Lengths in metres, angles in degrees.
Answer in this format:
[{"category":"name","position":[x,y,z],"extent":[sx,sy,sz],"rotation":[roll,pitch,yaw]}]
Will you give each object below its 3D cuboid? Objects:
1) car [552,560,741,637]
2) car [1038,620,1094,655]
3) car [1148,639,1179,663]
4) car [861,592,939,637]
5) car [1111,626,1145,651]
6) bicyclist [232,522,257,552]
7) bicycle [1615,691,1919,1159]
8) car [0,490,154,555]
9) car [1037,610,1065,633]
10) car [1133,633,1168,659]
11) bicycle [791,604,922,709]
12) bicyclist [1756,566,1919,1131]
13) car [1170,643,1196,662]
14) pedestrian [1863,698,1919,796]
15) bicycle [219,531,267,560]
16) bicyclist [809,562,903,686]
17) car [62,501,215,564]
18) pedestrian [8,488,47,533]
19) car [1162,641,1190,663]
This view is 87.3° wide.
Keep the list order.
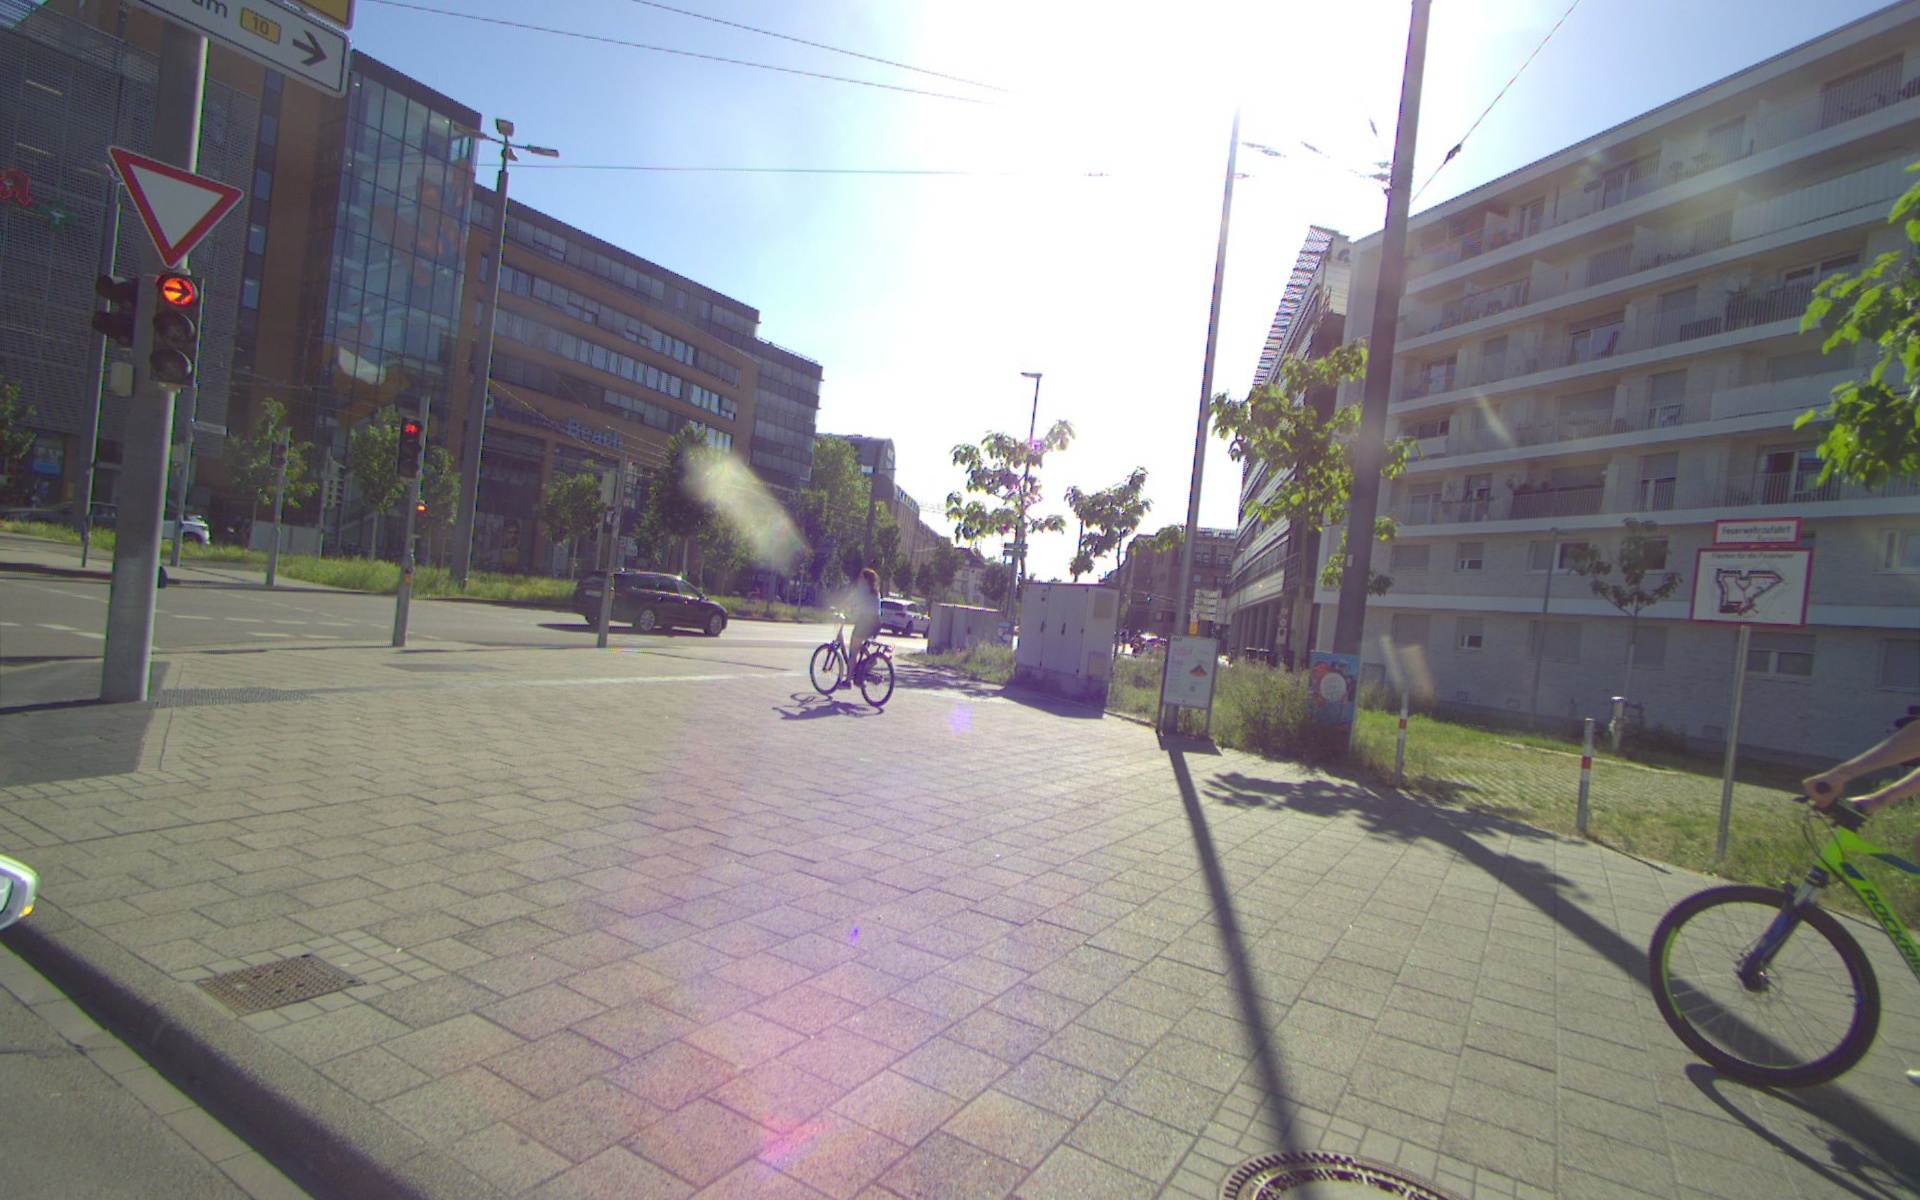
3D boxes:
[{"category":"car","position":[-7.716,0.033,25.303],"extent":[1.800,1.480,4.682],"rotation":[7,0,23]},{"category":"car","position":[5.760,2.053,53.983],"extent":[1.675,1.591,4.872],"rotation":[7,-1,21]},{"category":"car","position":[15.676,3.942,77.288],"extent":[1.677,1.515,4.281],"rotation":[7,-2,19]},{"category":"car","position":[-2.716,0.737,47.014],"extent":[1.901,1.728,4.685],"rotation":[7,0,18]},{"category":"car","position":[12.714,2.931,75.836],"extent":[1.677,1.515,4.281],"rotation":[7,-2,19]},{"category":"bicyclist","position":[-36.468,-3.220,51.300],"extent":[0.556,1.404,0.754],"rotation":[9,2,31]},{"category":"bicycle","position":[3.337,1.101,3.317],"extent":[0.711,1.344,1.728],"rotation":[5,2,-41]},{"category":"car","position":[-32.075,-2.770,36.327],"extent":[1.810,1.484,4.161],"rotation":[6,-5,30]},{"category":"car","position":[7.888,1.911,87.135],"extent":[1.615,1.665,3.704],"rotation":[7,-1,15]},{"category":"car","position":[13.500,3.294,71.050],"extent":[1.677,1.515,4.281],"rotation":[7,-2,19]},{"category":"bicycle","position":[-1.348,0.693,12.771],"extent":[0.664,1.085,1.800],"rotation":[8,-1,-39]},{"category":"bicyclist","position":[3.433,0.826,3.251],"extent":[0.711,1.748,1.081],"rotation":[5,2,-41]},{"category":"car","position":[20.630,4.857,92.894],"extent":[1.677,1.515,4.281],"rotation":[7,-2,19]},{"category":"pedestrian","position":[18.217,2.827,19.253],"extent":[0.970,1.719,0.842],"rotation":[6,2,-16]},{"category":"bicycle","position":[-36.533,-2.785,51.278],"extent":[0.559,1.232,1.859],"rotation":[9,1,31]},{"category":"bicyclist","position":[-1.326,0.299,12.750],"extent":[0.663,1.454,0.930],"rotation":[6,0,-39]},{"category":"car","position":[-33.188,-2.689,40.798],"extent":[1.807,1.885,4.340],"rotation":[6,-1,23]},{"category":"pedestrian","position":[-41.490,-3.986,44.766],"extent":[1.019,1.852,1.012],"rotation":[8,2,35]},{"category":"car","position":[17.911,4.314,83.265],"extent":[1.677,1.515,4.281],"rotation":[7,-2,19]}]
